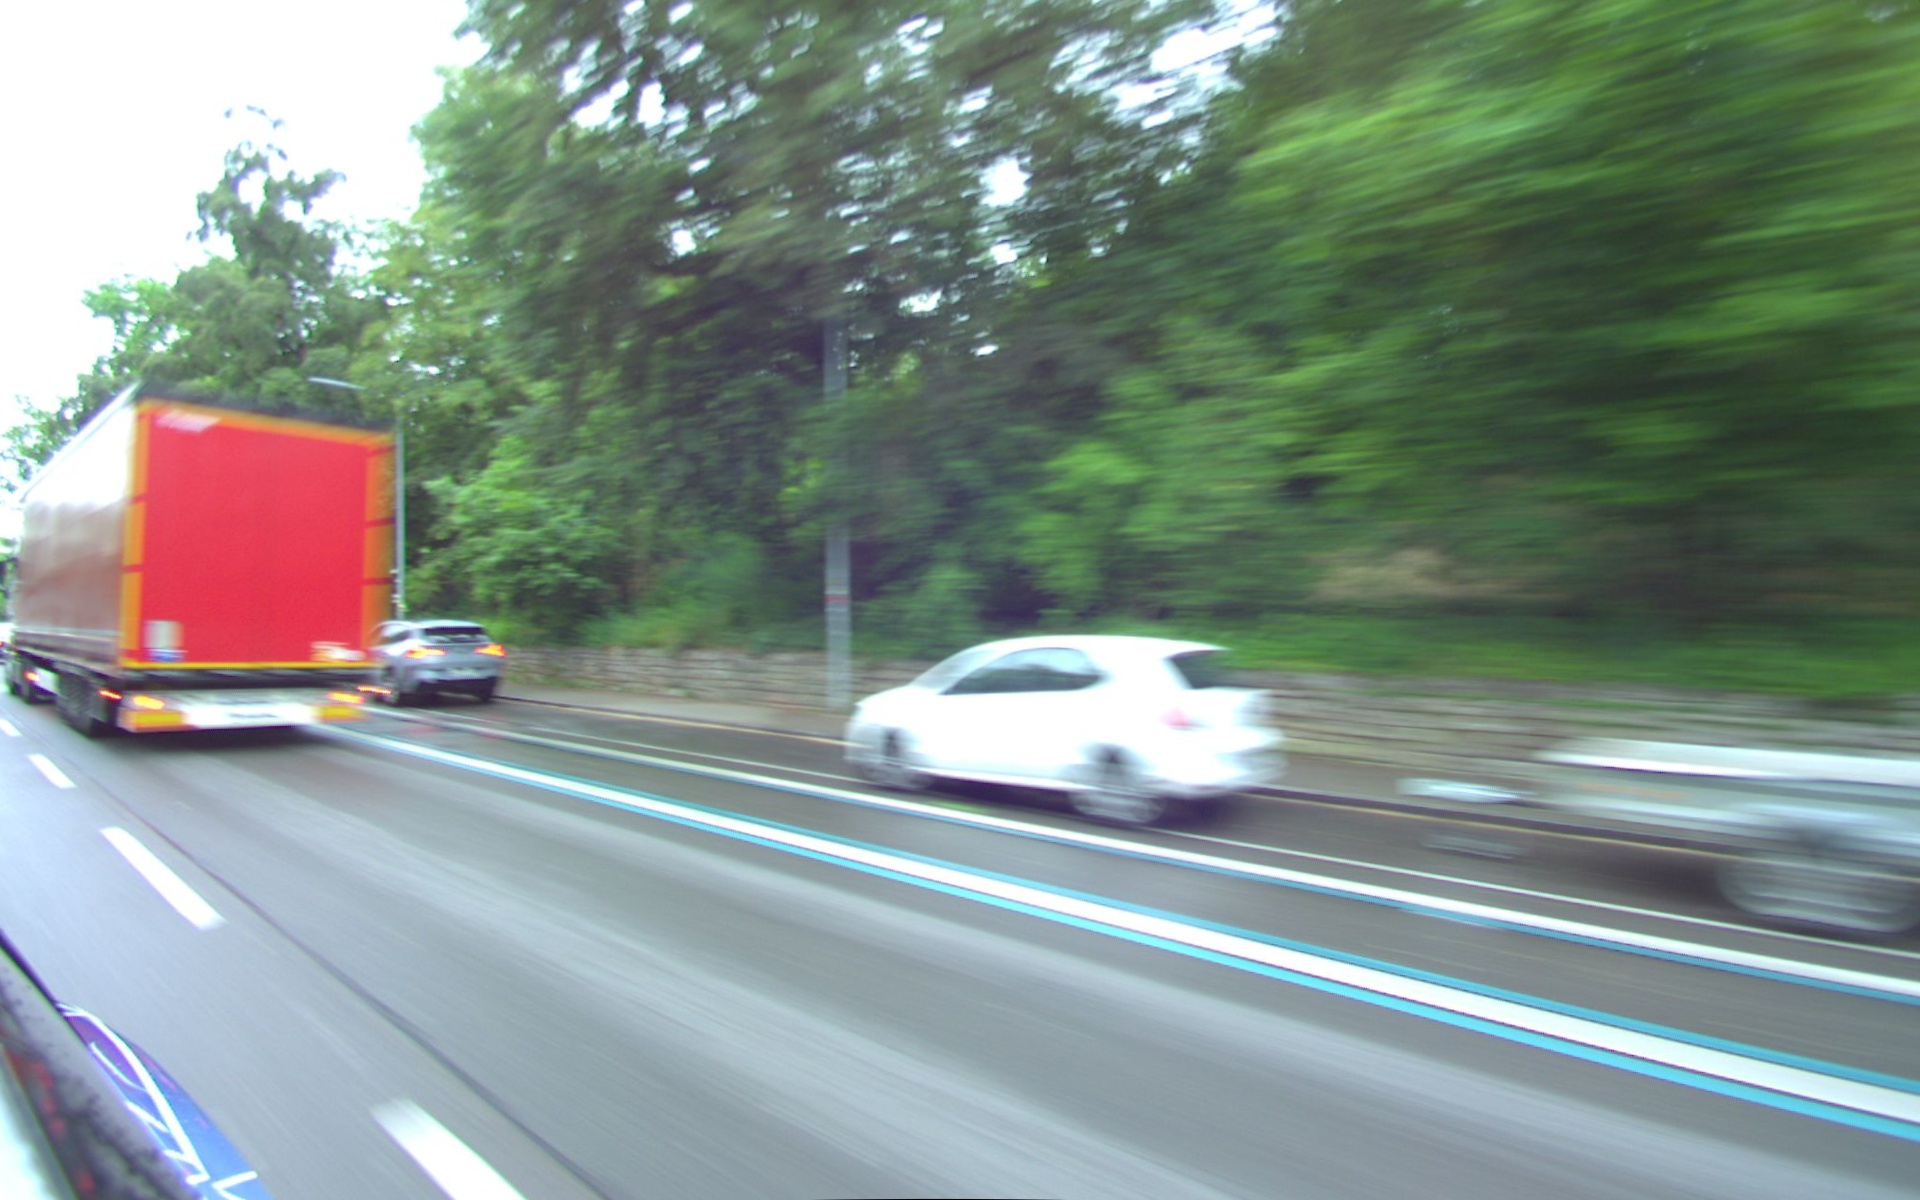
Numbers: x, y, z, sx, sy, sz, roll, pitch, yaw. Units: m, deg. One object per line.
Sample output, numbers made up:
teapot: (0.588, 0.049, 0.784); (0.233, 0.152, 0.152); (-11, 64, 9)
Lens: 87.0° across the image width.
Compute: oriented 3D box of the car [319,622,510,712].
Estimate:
car: (-11.217, 1.295, 20.667); (4.778, 1.618, 1.988); (-2, -2, 42)

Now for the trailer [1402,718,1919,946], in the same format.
trailer: (4.534, 1.255, 5.874); (3.304, 0.825, 1.526); (-1, -1, 42)

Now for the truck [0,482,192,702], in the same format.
truck: (-18.378, -0.058, 21.370); (4.916, 4.077, 2.490); (-1, -4, 43)

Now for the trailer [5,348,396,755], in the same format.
trailer: (-12.645, -0.340, 15.999); (12.770, 4.292, 2.658); (-1, -4, 43)

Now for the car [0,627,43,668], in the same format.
car: (-36.115, 1.750, 38.142); (4.620, 1.468, 1.894); (-2, -4, 43)

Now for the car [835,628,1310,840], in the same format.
car: (0.857, 1.013, 9.128); (3.980, 1.493, 1.770); (-2, -3, 41)

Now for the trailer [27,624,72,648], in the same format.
trailer: (-64.564, 2.533, 71.793); (1.330, 1.670, 2.270); (0, -1, -9)

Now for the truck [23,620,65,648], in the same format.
truck: (-68.464, 2.549, 75.626); (5.162, 2.029, 2.069); (-2, -2, 45)
